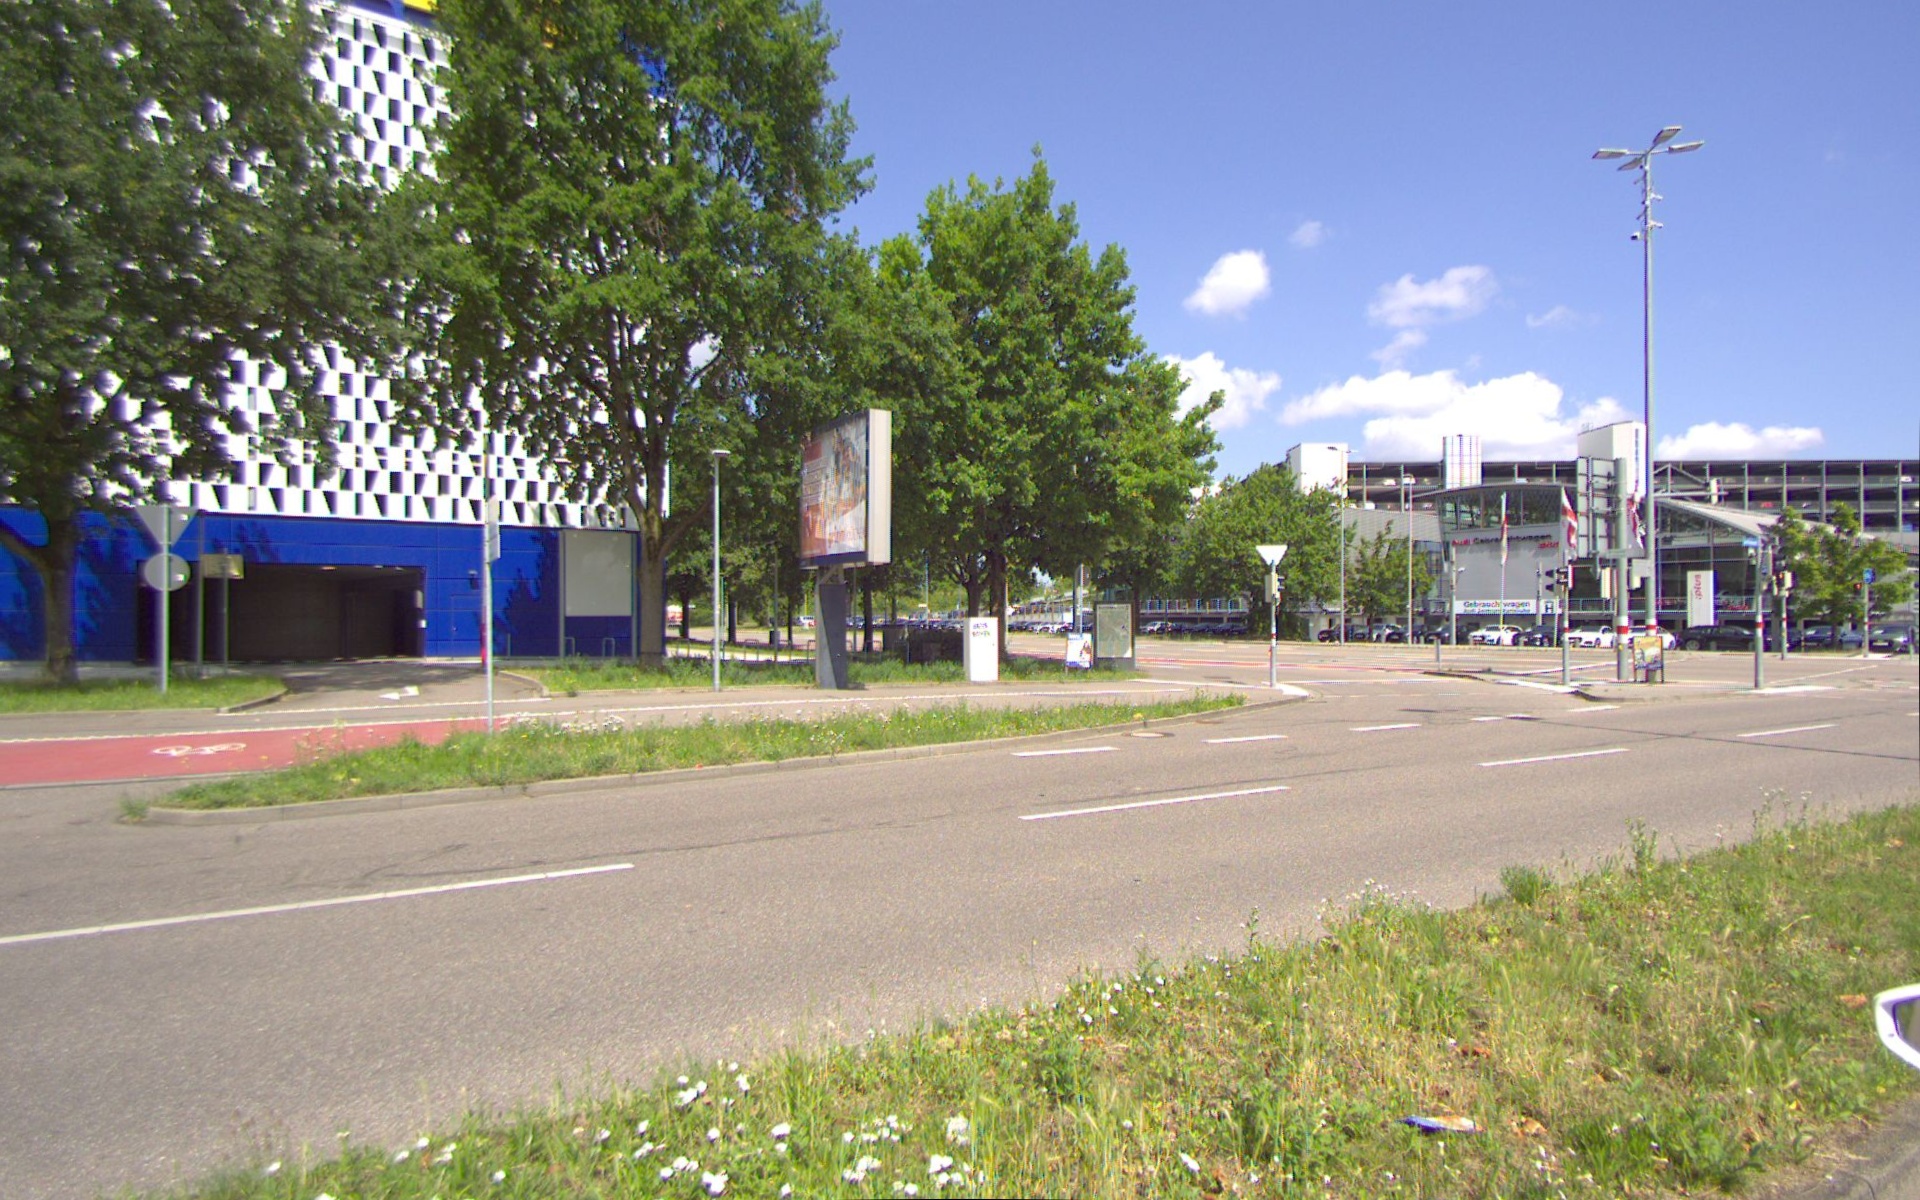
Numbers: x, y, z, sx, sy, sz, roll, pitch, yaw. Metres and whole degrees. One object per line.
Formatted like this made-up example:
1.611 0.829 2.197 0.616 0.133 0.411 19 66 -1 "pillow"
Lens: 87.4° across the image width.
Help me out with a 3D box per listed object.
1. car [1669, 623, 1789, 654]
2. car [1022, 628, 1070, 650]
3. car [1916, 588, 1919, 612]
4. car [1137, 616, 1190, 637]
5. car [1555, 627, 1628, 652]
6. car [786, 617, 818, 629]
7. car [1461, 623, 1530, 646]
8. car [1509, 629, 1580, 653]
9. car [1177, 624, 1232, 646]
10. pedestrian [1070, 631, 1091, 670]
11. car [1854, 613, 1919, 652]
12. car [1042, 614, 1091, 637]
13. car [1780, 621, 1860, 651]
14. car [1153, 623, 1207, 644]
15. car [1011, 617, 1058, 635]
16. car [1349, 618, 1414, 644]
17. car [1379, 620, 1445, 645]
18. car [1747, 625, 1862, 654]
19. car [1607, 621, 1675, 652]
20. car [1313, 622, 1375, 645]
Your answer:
40.212 1.978 52.622 1.778 1.483 4.710 5 -3 -34 "car"
8.632 3.937 100.591 4.543 2.076 1.889 2 0 -35 "car"
76.188 0.069 76.679 1.747 1.825 4.412 2 0 -35 "car"
17.658 2.287 87.282 4.543 1.700 1.889 2 0 -35 "car"
36.282 2.281 57.688 4.543 1.315 1.889 2 0 -35 "car"
-23.122 3.369 147.054 4.327 1.533 1.916 2 0 -36 "car"
33.193 2.142 62.256 4.543 1.315 1.889 2 0 -35 "car"
34.829 2.429 59.803 4.543 1.315 1.889 2 0 -35 "car"
20.254 2.872 83.211 4.543 1.700 1.889 2 0 -35 "car"
4.995 2.072 41.658 0.499 1.576 0.753 0 -1 -34 "pedestrian"
43.487 1.523 46.656 4.543 1.700 1.889 2 0 -35 "car"
10.405 2.487 98.019 4.543 2.076 1.889 2 0 -35 "car"
42.020 1.765 49.056 4.543 1.315 1.889 2 0 -35 "car"
18.584 2.832 84.744 4.543 1.700 1.889 2 0 -35 "car"
7.633 2.614 102.481 4.543 1.700 1.889 2 0 -35 "car"
28.835 2.141 68.705 4.545 1.423 1.889 5 -2 -35 "car"
29.961 2.167 66.559 4.544 1.402 1.889 4 -1 -35 "car"
48.277 2.245 57.484 1.965 1.530 4.710 5 -3 -34 "car"
37.641 2.020 55.502 3.961 1.483 1.779 5 -3 -35 "car"
27.302 2.375 71.332 4.544 1.423 1.889 3 -1 -35 "car"
